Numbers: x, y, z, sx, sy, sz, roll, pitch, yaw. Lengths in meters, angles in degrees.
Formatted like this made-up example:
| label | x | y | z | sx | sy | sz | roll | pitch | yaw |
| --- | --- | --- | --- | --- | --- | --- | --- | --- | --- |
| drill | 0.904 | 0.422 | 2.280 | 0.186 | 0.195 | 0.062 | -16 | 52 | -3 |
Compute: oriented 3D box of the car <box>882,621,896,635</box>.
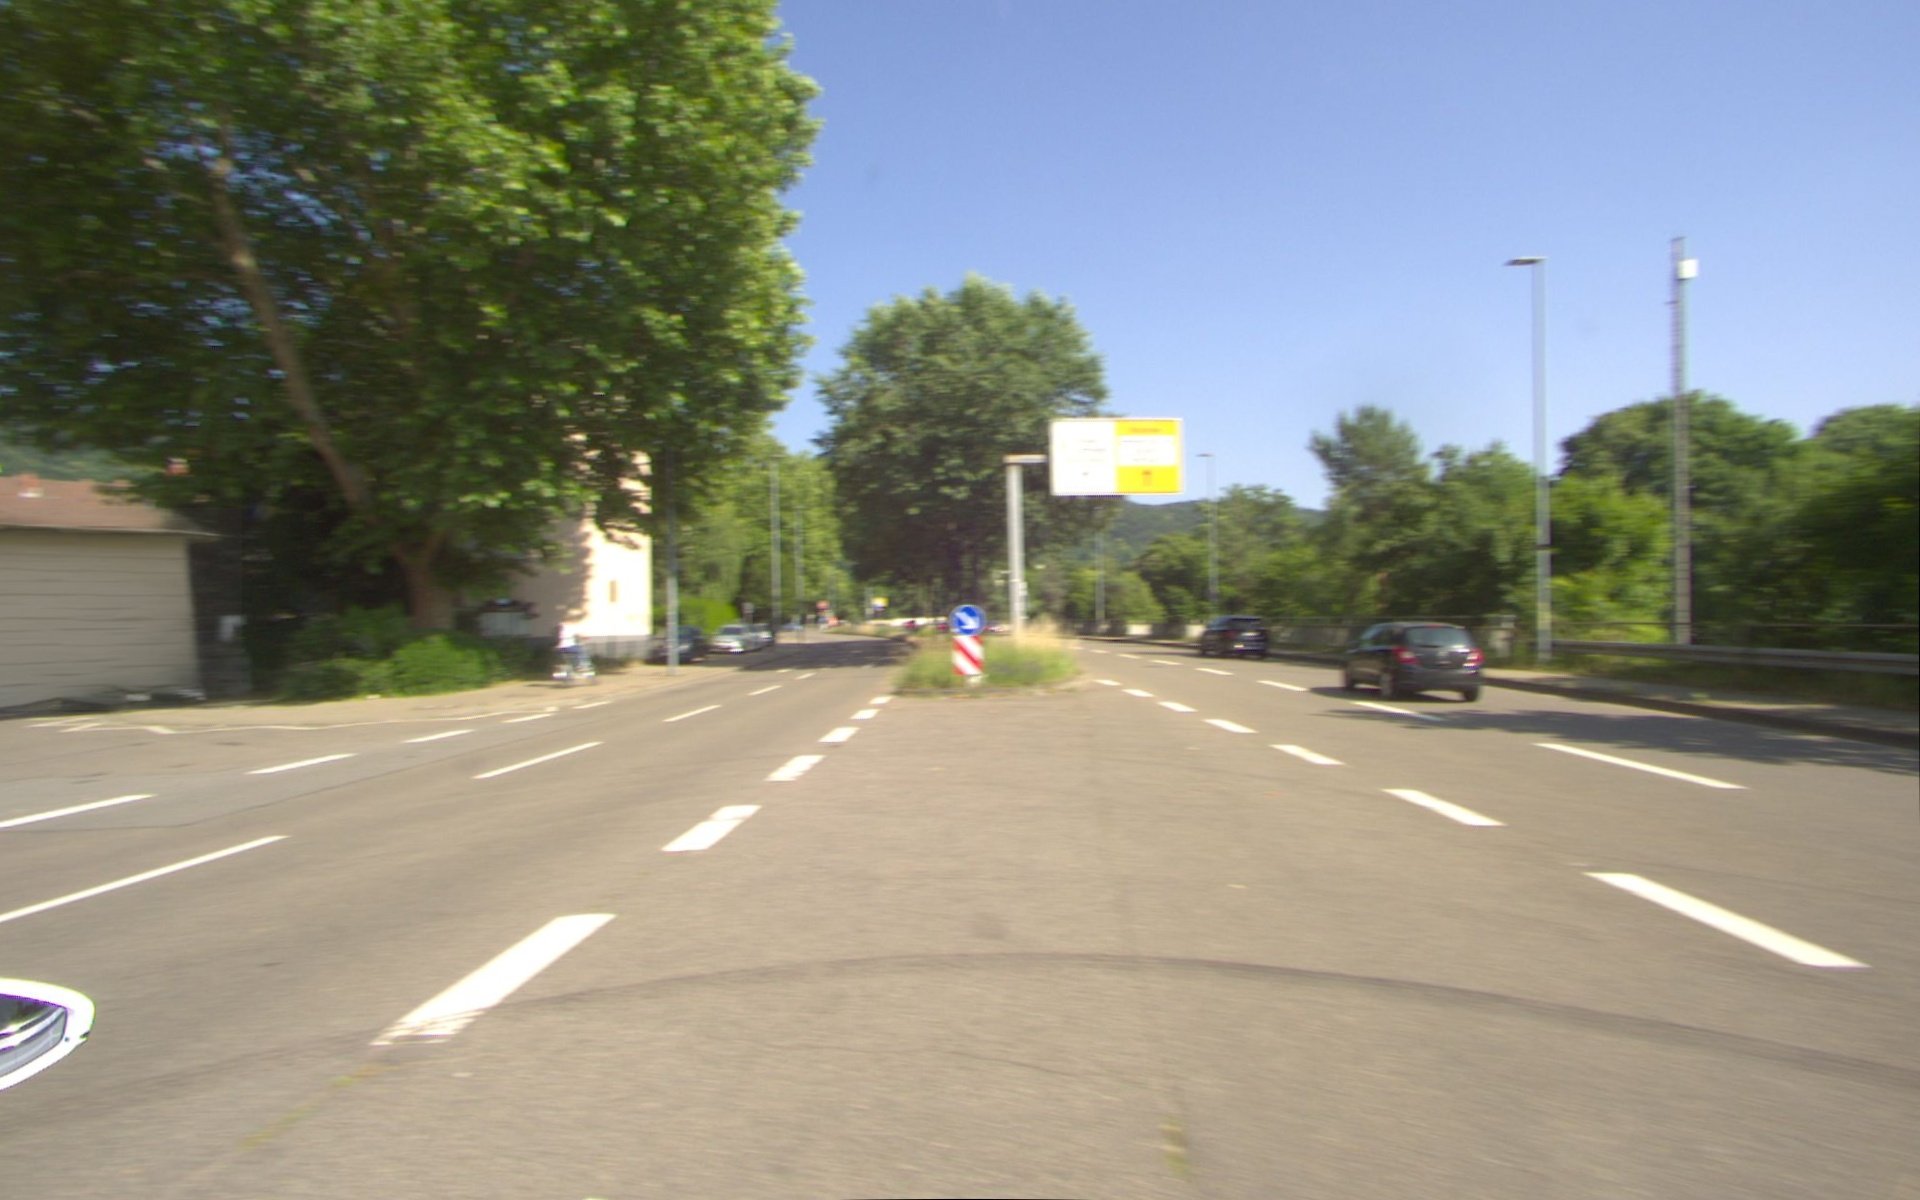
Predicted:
| label | x | y | z | sx | sy | sz | roll | pitch | yaw |
| --- | --- | --- | --- | --- | --- | --- | --- | --- | --- |
| car | -9.575 | 3.821 | 135.105 | 1.604 | 1.835 | 3.591 | 0 | -1 | -10 |

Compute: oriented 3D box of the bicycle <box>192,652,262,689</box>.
| label | x | y | z | sx | sy | sz | roll | pitch | yaw |
| --- | --- | --- | --- | --- | --- | --- | --- | --- | --- |
| bicycle | -21.049 | 2.013 | 28.769 | 1.559 | 1.006 | 0.452 | 2 | -1 | -43 |

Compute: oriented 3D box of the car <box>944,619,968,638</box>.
| label | x | y | z | sx | sy | sz | roll | pitch | yaw |
| --- | --- | --- | --- | --- | --- | --- | --- | --- | --- |
| car | -0.436 | 2.980 | 104.952 | 1.962 | 1.915 | 3.999 | -1 | -1 | -9 |

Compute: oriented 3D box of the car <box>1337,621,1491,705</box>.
| label | x | y | z | sx | sy | sz | roll | pitch | yaw |
| --- | --- | --- | --- | --- | --- | --- | --- | --- | --- |
| car | 8.837 | 1.181 | 19.810 | 1.649 | 1.488 | 3.577 | -1 | -1 | 5 |

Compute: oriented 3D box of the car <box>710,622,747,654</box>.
| label | x | y | z | sx | sy | sz | roll | pitch | yaw |
| --- | --- | --- | --- | --- | --- | --- | --- | --- | --- |
| car | -11.912 | 1.929 | 51.699 | 1.616 | 1.594 | 3.998 | -1 | -1 | -10 |

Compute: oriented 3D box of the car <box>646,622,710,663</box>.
| label | x | y | z | sx | sy | sz | roll | pitch | yaw |
| --- | --- | --- | --- | --- | --- | --- | --- | --- | --- |
| car | -11.221 | 1.660 | 40.078 | 1.759 | 1.532 | 3.894 | -1 | -1 | -5 |

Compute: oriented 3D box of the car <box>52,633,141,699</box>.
| label | x | y | z | sx | sy | sz | roll | pitch | yaw |
| --- | --- | --- | --- | --- | --- | --- | --- | --- | --- |
| car | -23.747 | 1.762 | 27.641 | 1.734 | 1.679 | 3.750 | 0 | -1 | -39 |

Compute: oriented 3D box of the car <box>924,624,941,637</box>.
| label | x | y | z | sx | sy | sz | roll | pitch | yaw |
| --- | --- | --- | --- | --- | --- | --- | --- | --- | --- |
| car | -3.297 | 3.612 | 119.333 | 1.604 | 1.514 | 3.679 | -1 | -1 | -9 |

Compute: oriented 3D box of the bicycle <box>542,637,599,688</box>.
| label | x | y | z | sx | sy | sz | roll | pitch | yaw |
| --- | --- | --- | --- | --- | --- | --- | --- | --- | --- |
| bicycle | -9.652 | 1.542 | 24.850 | 0.545 | 1.204 | 1.283 | -1 | -1 | 24 |

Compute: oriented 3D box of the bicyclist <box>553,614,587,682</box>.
| label | x | y | z | sx | sy | sz | roll | pitch | yaw |
| --- | --- | --- | --- | --- | --- | --- | --- | --- | --- |
| bicyclist | -9.666 | 1.184 | 24.830 | 0.532 | 1.654 | 0.588 | -1 | 0 | 24 |

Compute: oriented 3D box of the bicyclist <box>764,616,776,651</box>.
| label | x | y | z | sx | sy | sz | roll | pitch | yaw |
| --- | --- | --- | --- | --- | --- | --- | --- | --- | --- |
| bicyclist | -10.460 | 1.850 | 55.228 | 0.636 | 1.919 | 0.839 | -1 | 0 | -10 |

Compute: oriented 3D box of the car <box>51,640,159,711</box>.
| label | x | y | z | sx | sy | sz | roll | pitch | yaw |
| --- | --- | --- | --- | --- | --- | --- | --- | --- | --- |
| car | -19.914 | 1.695 | 23.438 | 1.790 | 1.470 | 3.764 | 0 | -1 | -39 |

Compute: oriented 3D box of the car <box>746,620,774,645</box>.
| label | x | y | z | sx | sy | sz | roll | pitch | yaw |
| --- | --- | --- | --- | --- | --- | --- | --- | --- | --- |
| car | -13.945 | 2.246 | 69.864 | 1.742 | 1.701 | 3.999 | -1 | -1 | -10 |

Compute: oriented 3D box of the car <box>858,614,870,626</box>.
| label | x | y | z | sx | sy | sz | roll | pitch | yaw |
| --- | --- | --- | --- | --- | --- | --- | --- | --- | --- |
| car | -15.562 | 3.264 | 162.135 | 1.604 | 1.835 | 3.591 | -1 | -1 | -10 |

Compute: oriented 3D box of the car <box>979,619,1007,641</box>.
| label | x | y | z | sx | sy | sz | roll | pitch | yaw |
| --- | --- | --- | --- | --- | --- | --- | --- | --- | --- |
| car | 2.952 | 2.710 | 90.894 | 1.961 | 1.915 | 4.000 | -1 | -1 | -6 |

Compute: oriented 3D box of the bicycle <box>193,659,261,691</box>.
| label | x | y | z | sx | sy | sz | roll | pitch | yaw |
| --- | --- | --- | --- | --- | --- | --- | --- | --- | --- |
| bicycle | -20.438 | 2.074 | 27.943 | 1.491 | 0.844 | 0.380 | 2 | -1 | -43 |

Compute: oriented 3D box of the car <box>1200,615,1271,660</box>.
| label | x | y | z | sx | sy | sz | roll | pitch | yaw |
| --- | --- | --- | --- | --- | --- | --- | --- | --- | --- |
| car | 10.939 | 1.455 | 40.047 | 1.886 | 1.685 | 4.313 | -1 | -1 | 4 |

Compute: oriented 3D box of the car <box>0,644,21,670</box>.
| label | x | y | z | sx | sy | sz | roll | pitch | yaw |
| --- | --- | --- | --- | --- | --- | --- | --- | --- | --- |
| car | -58.439 | 3.453 | 60.827 | 1.734 | 1.480 | 3.749 | 0 | -1 | -39 |

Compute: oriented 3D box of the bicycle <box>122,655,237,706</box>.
| label | x | y | z | sx | sy | sz | roll | pitch | yaw |
| --- | --- | --- | --- | --- | --- | --- | --- | --- | --- |
| bicycle | -17.166 | 1.749 | 22.047 | 0.964 | 0.996 | 1.881 | -2 | -1 | 44 |

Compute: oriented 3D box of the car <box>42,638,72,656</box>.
| label | x | y | z | sx | sy | sz | roll | pitch | yaw |
| --- | --- | --- | --- | --- | --- | --- | --- | --- | --- |
| car | -79.702 | 4.119 | 88.390 | 1.734 | 1.500 | 3.750 | 0 | -1 | -39 |

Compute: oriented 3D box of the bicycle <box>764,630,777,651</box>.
| label | x | y | z | sx | sy | sz | roll | pitch | yaw |
| --- | --- | --- | --- | --- | --- | --- | --- | --- | --- |
| bicycle | -10.448 | 2.240 | 55.202 | 0.649 | 1.137 | 1.802 | -1 | -1 | -11 |

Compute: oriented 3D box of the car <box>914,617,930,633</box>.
| label | x | y | z | sx | sy | sz | roll | pitch | yaw |
| --- | --- | --- | --- | --- | --- | --- | --- | --- | --- |
| car | -4.816 | 3.175 | 126.160 | 1.603 | 1.940 | 3.679 | -1 | -1 | -9 |
